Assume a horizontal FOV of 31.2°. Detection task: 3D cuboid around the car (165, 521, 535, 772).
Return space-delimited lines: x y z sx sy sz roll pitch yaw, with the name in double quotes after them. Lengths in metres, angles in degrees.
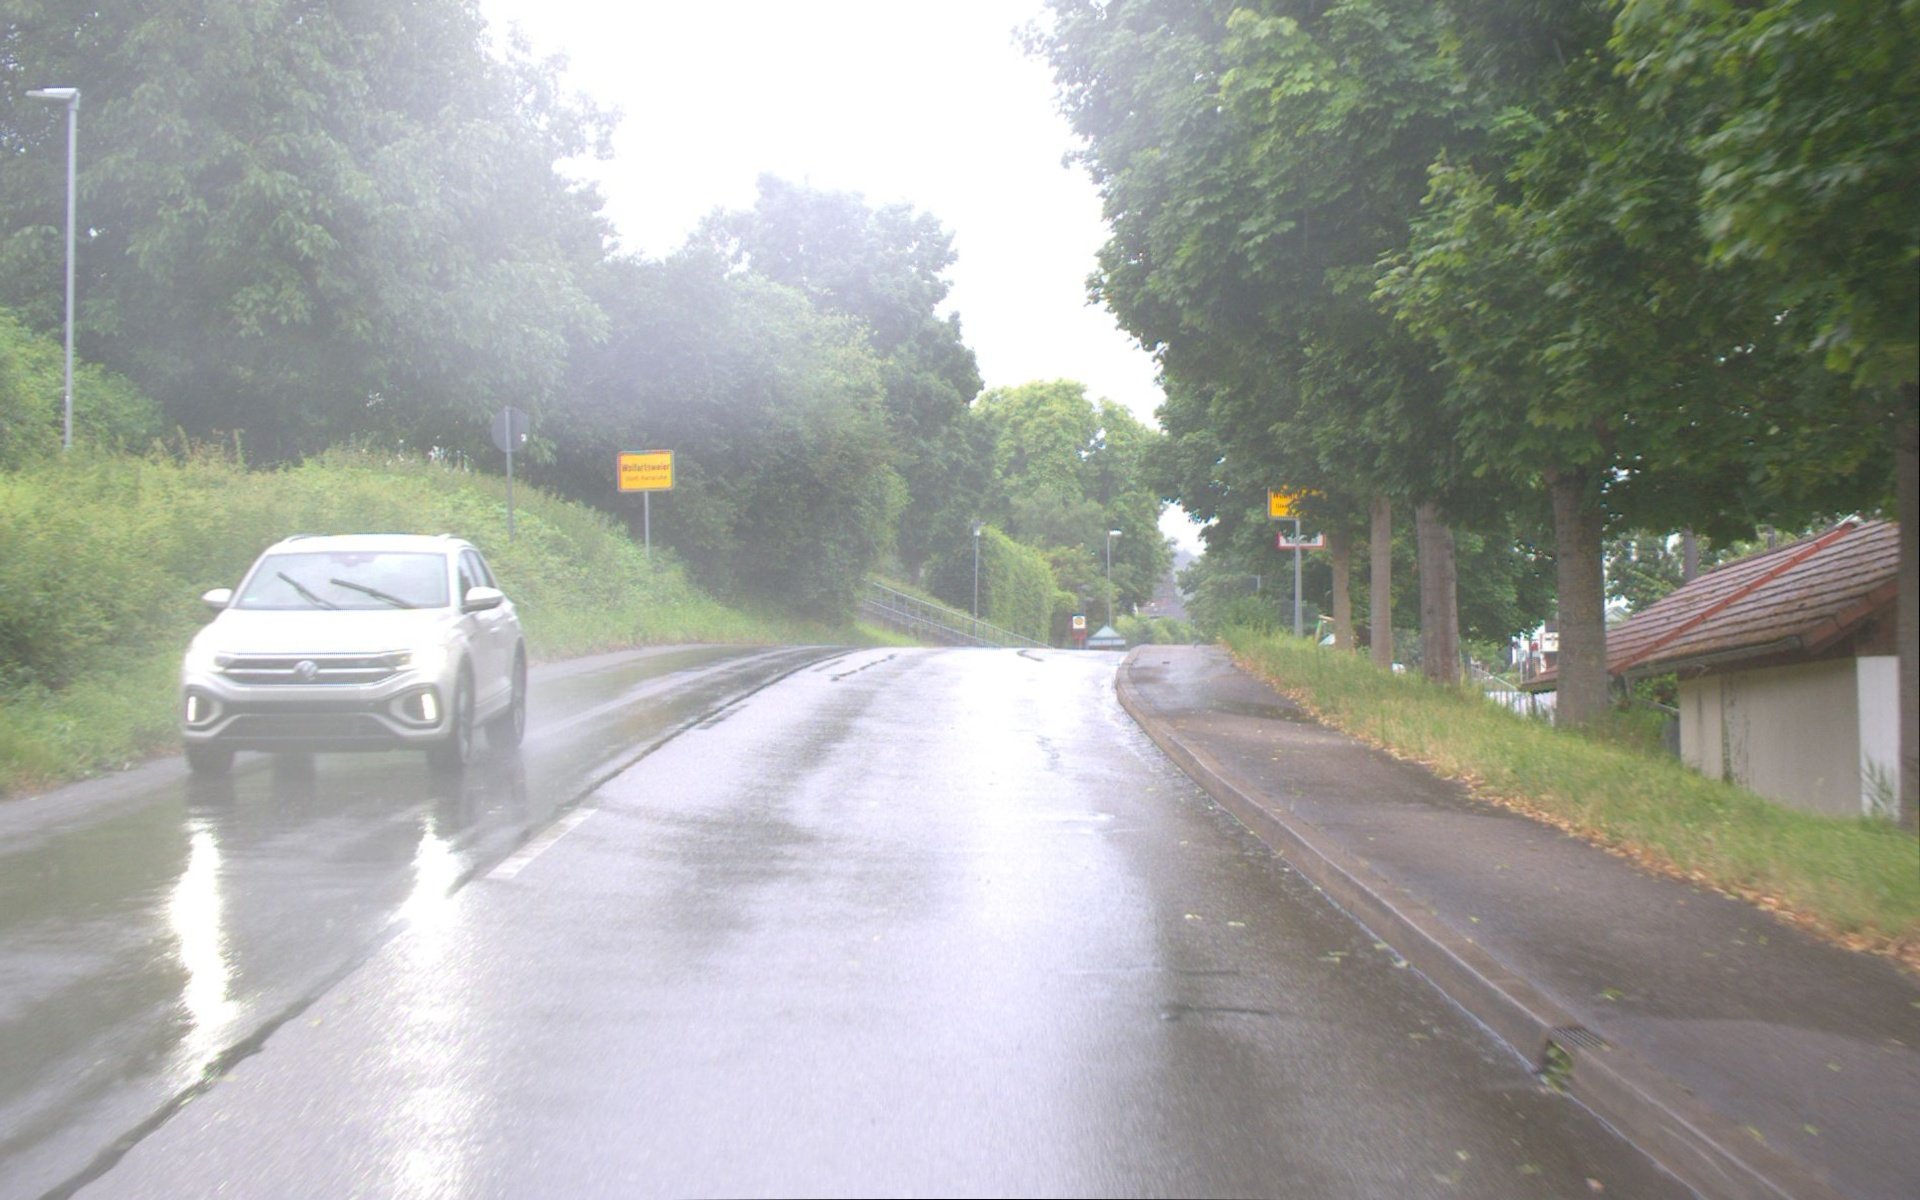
-4.027 0.244 23.302 1.781 1.499 4.000 -1 2 0 "car"
